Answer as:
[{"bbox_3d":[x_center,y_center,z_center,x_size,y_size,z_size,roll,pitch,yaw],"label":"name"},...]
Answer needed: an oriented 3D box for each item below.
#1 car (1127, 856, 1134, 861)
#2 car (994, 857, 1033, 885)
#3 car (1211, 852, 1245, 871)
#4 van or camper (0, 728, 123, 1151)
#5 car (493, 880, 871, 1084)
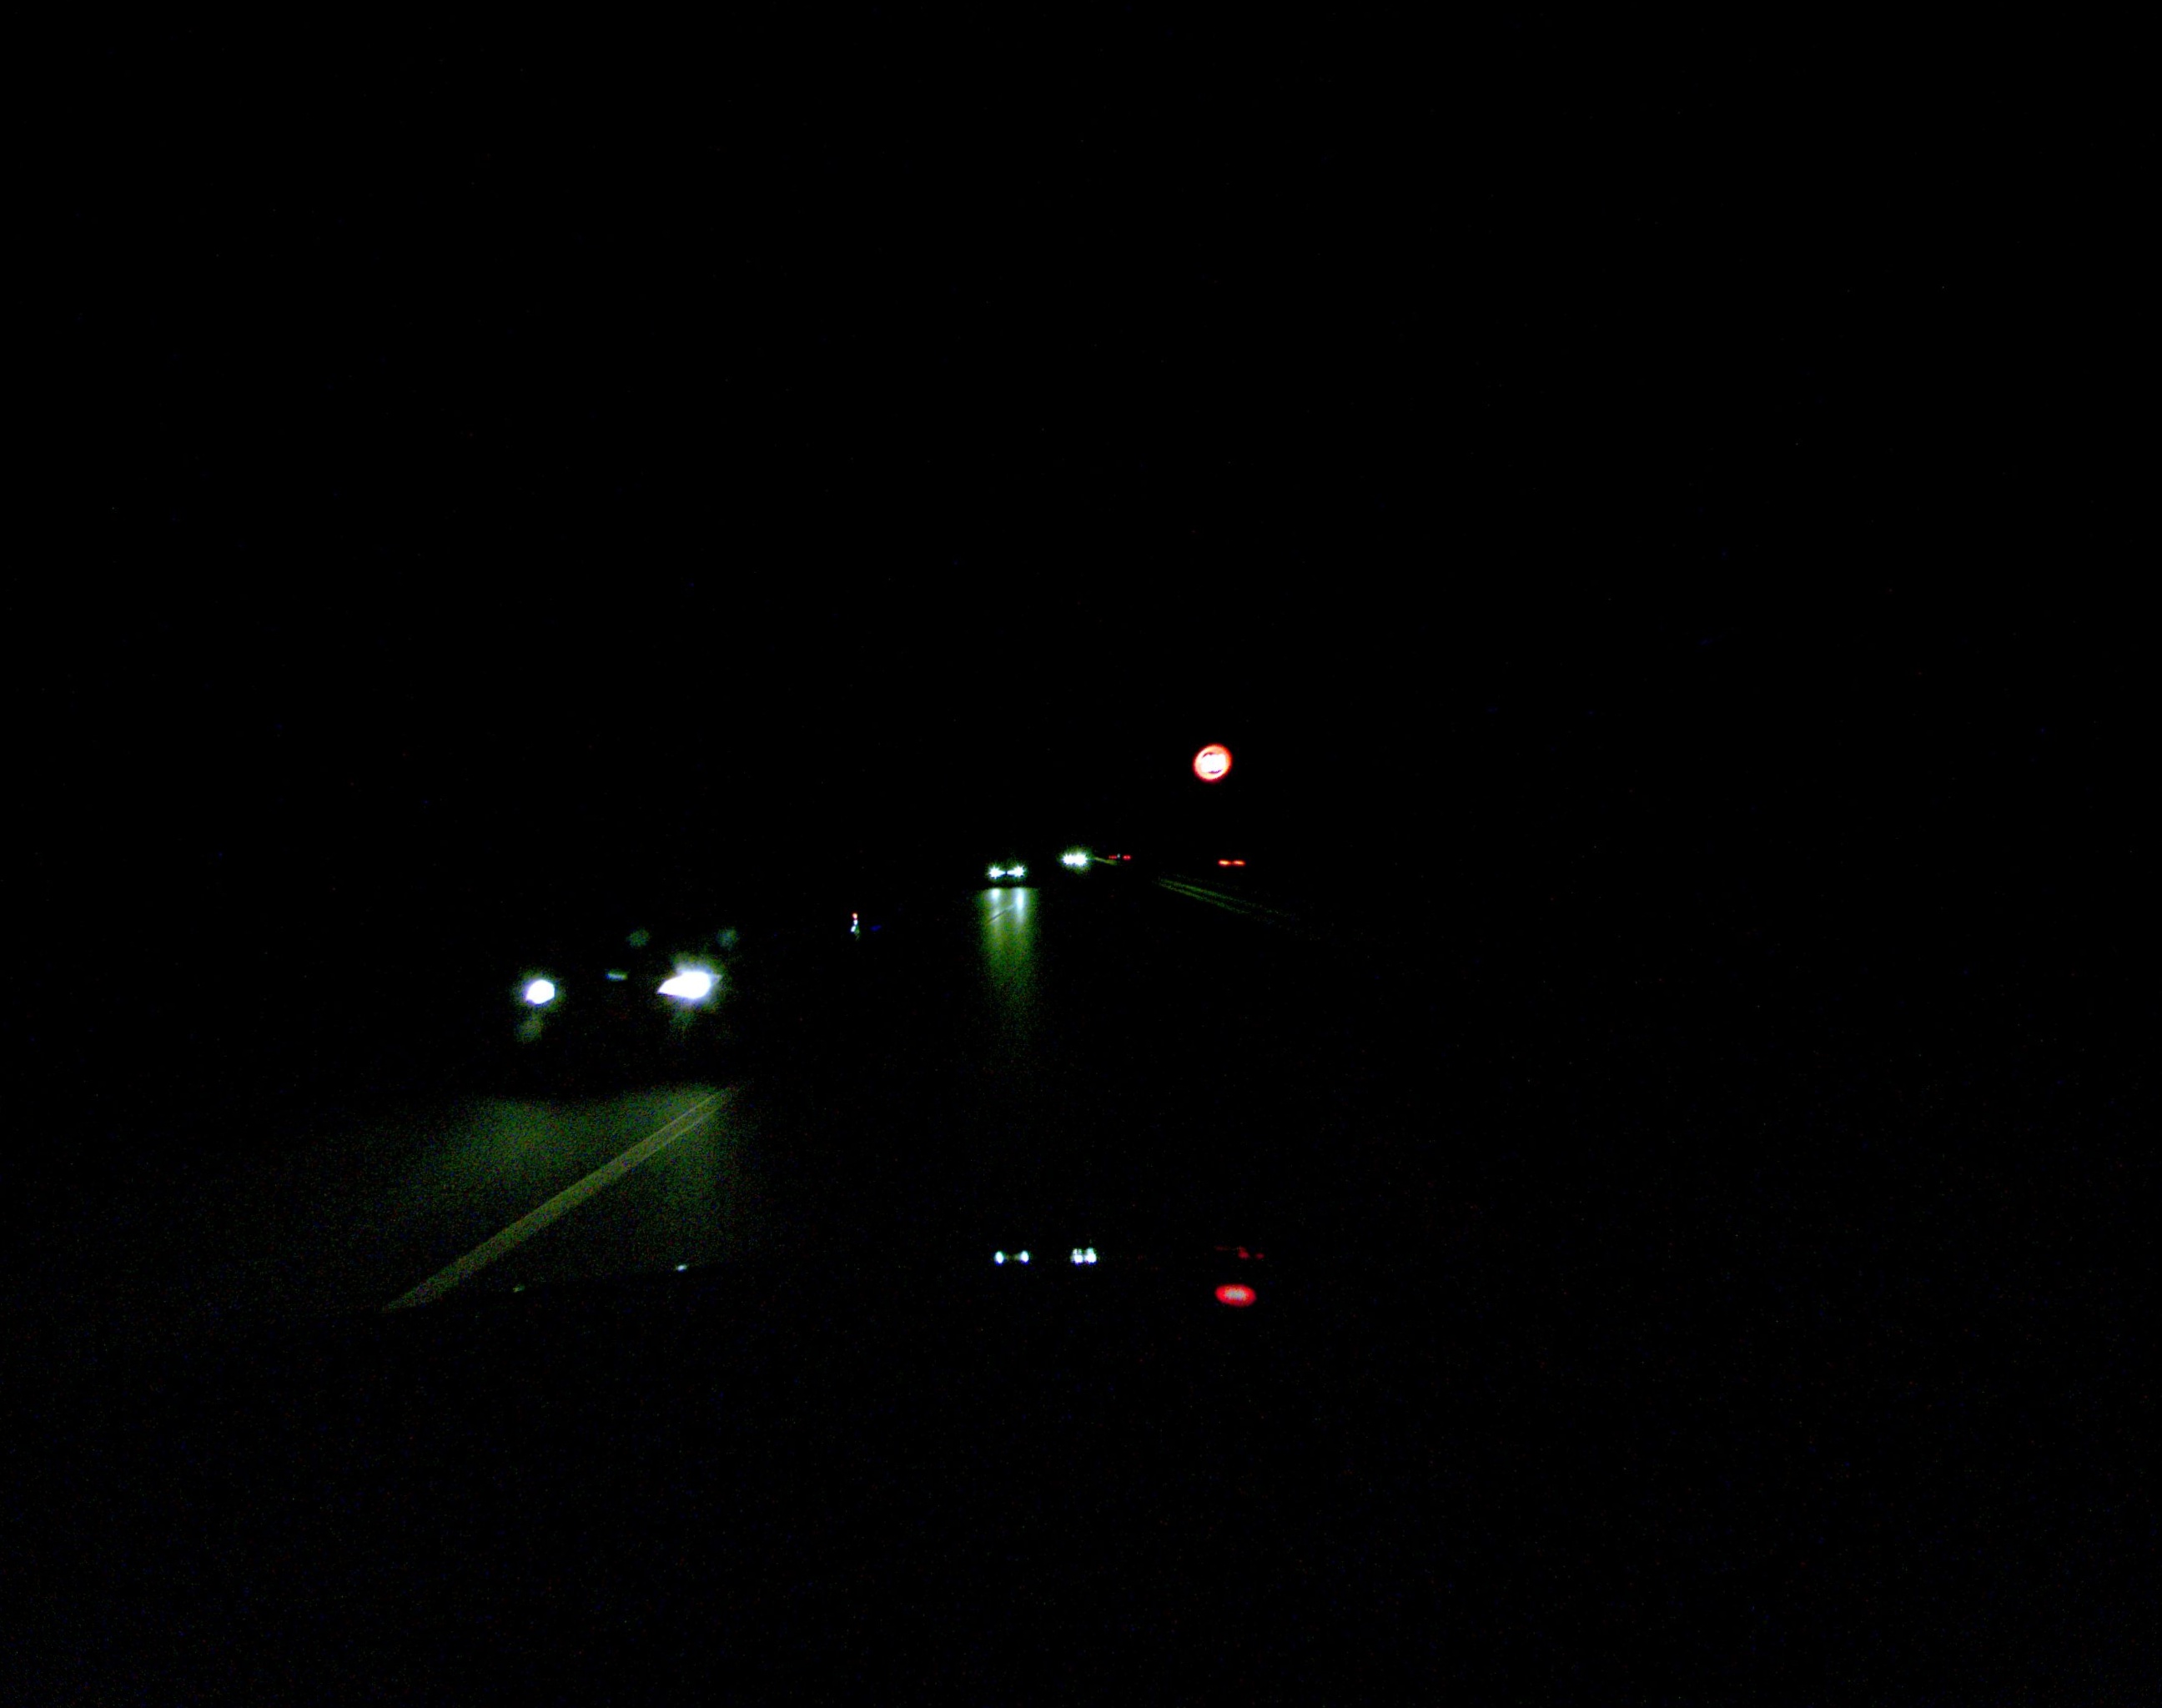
[{"bbox_3d":[16.521,1.377,253.779,1.998,1.628,5.076,-1,0,5],"label":"car"},{"bbox_3d":[-3.915,0.960,44.700,1.795,1.532,4.225,-1,0,1],"label":"car"},{"bbox_3d":[12.811,0.598,66.600,1.998,1.542,5.004,2,0,0],"label":"car"},{"bbox_3d":[-8.204,0.589,2.148,2.212,2.755,6.804,-2,0,1],"label":"van or camper"},{"bbox_3d":[-3.669,1.067,7.989,1.690,1.405,4.225,0,0,1],"label":"car"}]
